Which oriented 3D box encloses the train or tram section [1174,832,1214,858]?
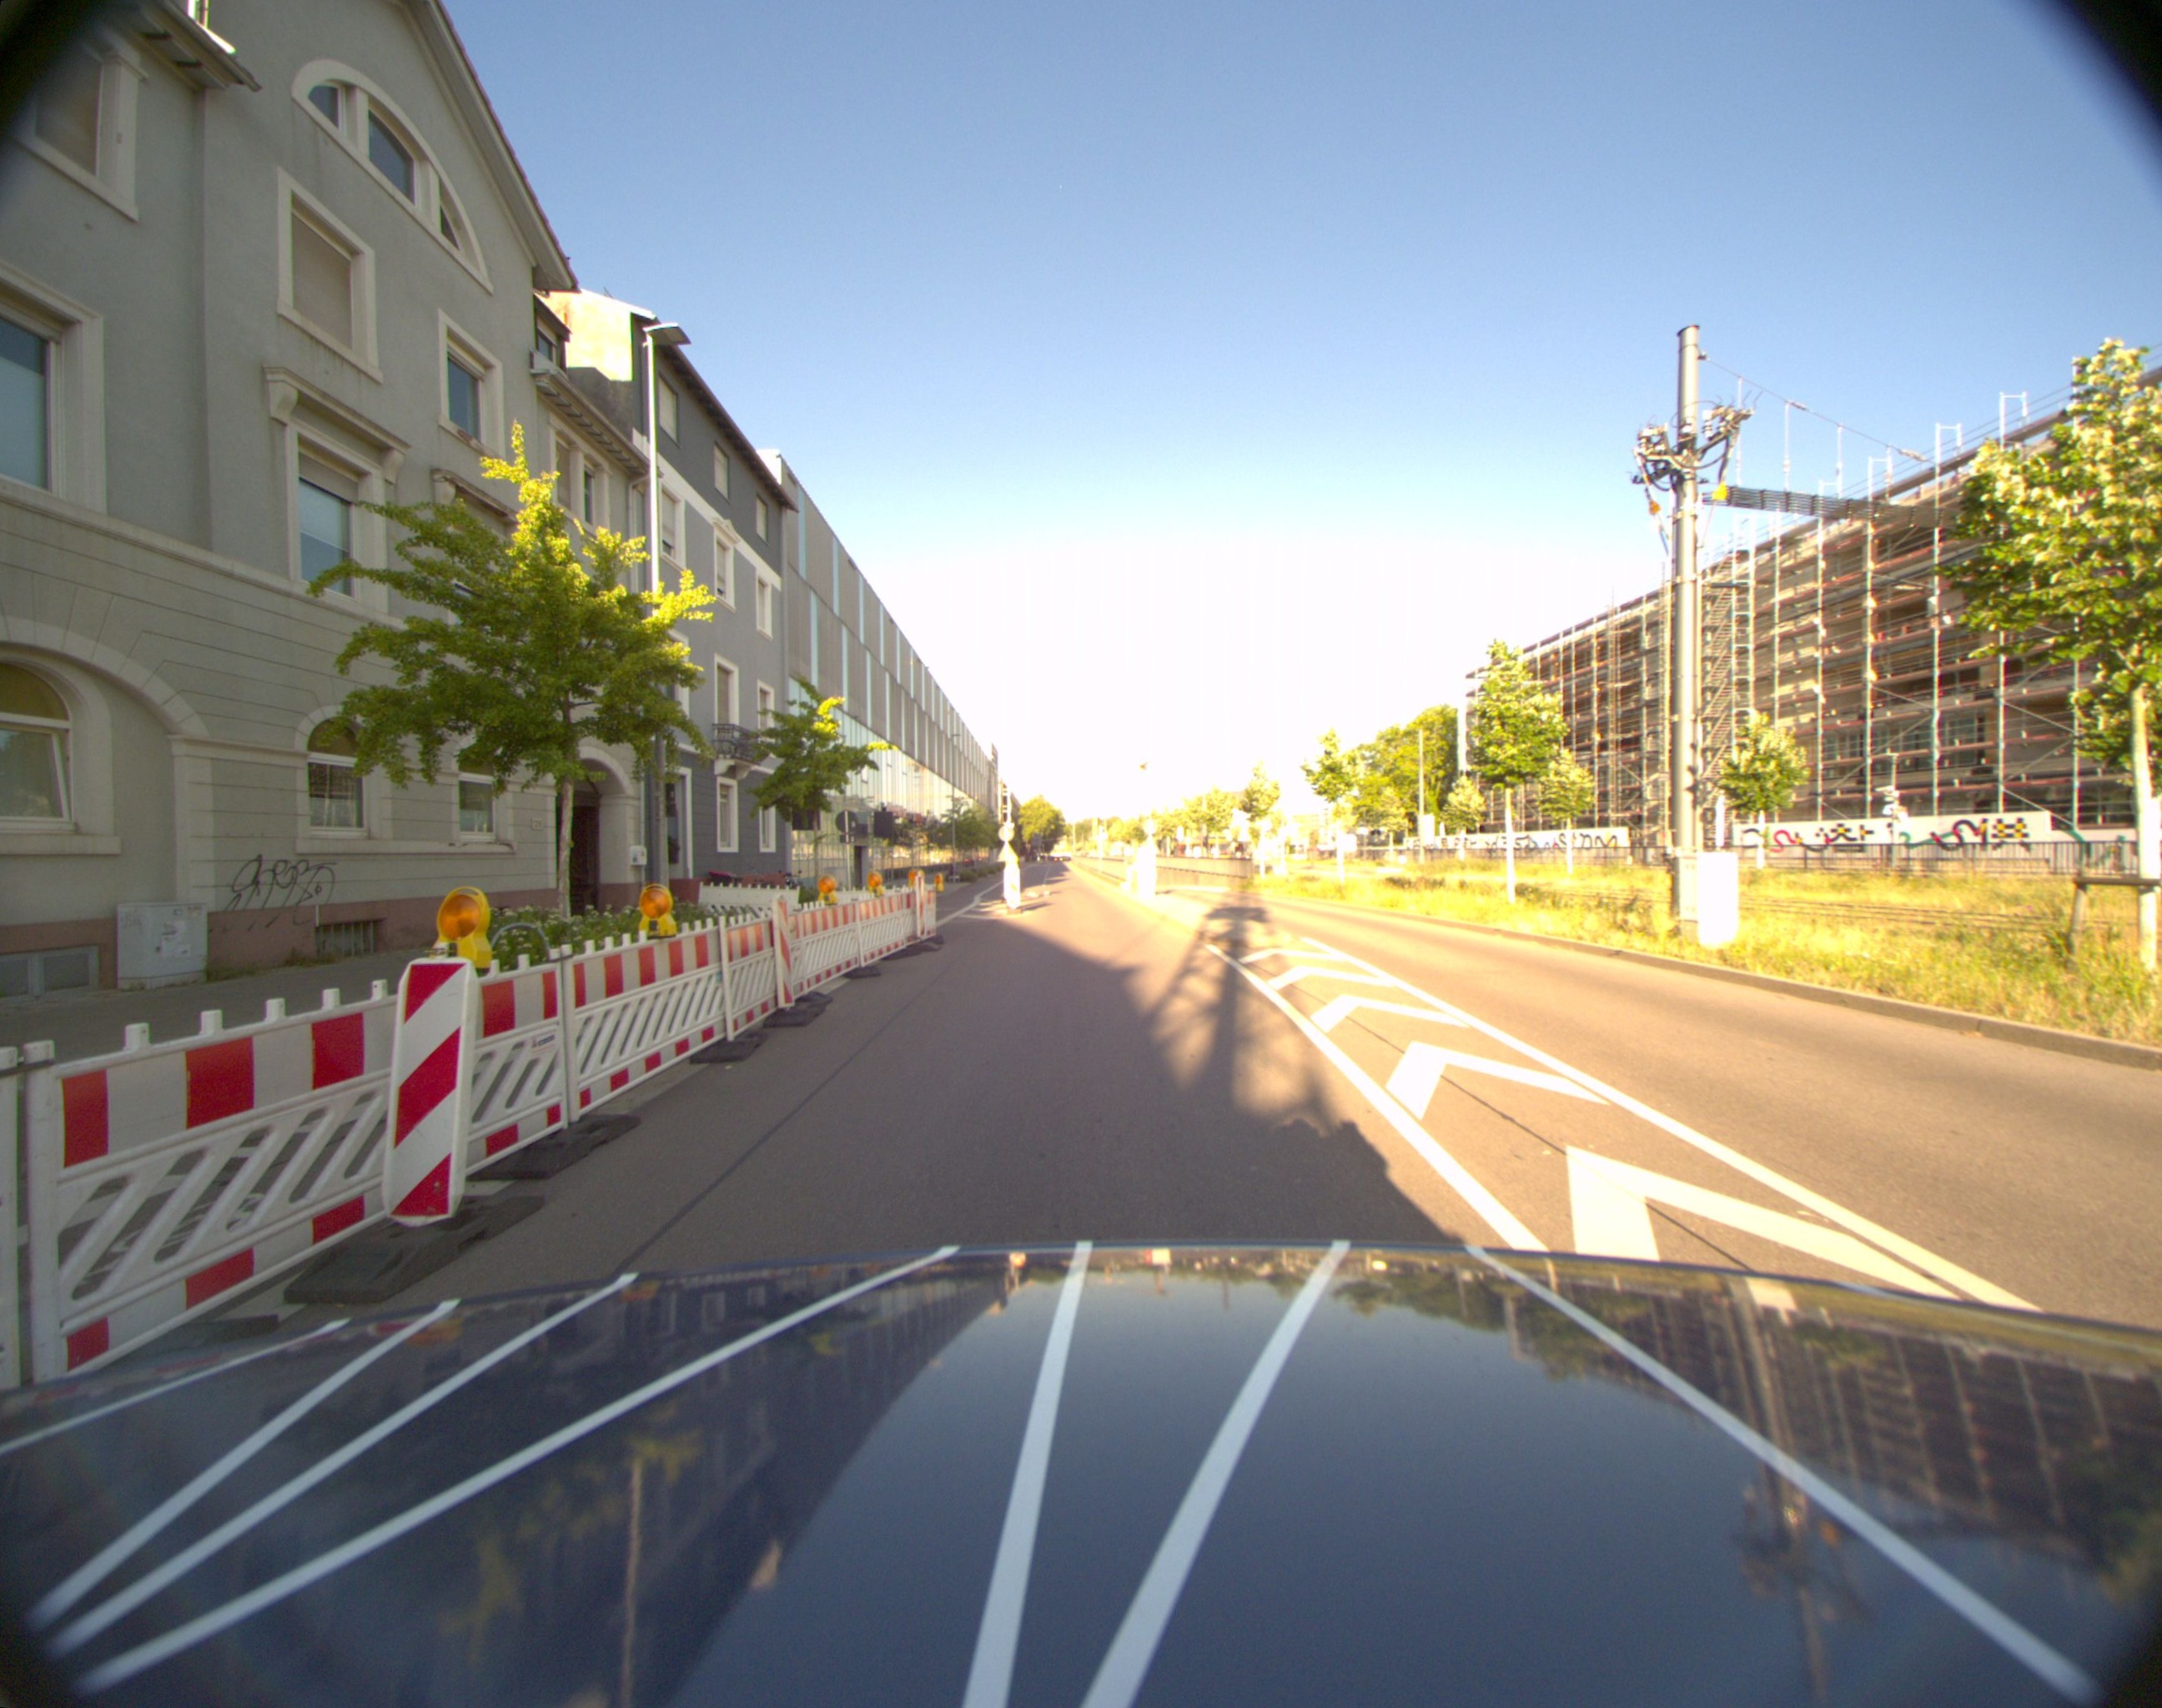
[{"bbox_3d":[15.887,-1.233,107.989,2.954,3.378,14.761,-2,1,-2],"label":"train or tram section"}]

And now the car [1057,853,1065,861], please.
[{"bbox_3d":[-5.004,0.785,187.301,1.941,2.002,3.825,-1,0,-3],"label":"car"}]

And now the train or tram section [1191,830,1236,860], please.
[{"bbox_3d":[16.304,-1.092,94.292,2.954,3.378,12.630,-2,1,-2],"label":"train or tram section"}]
